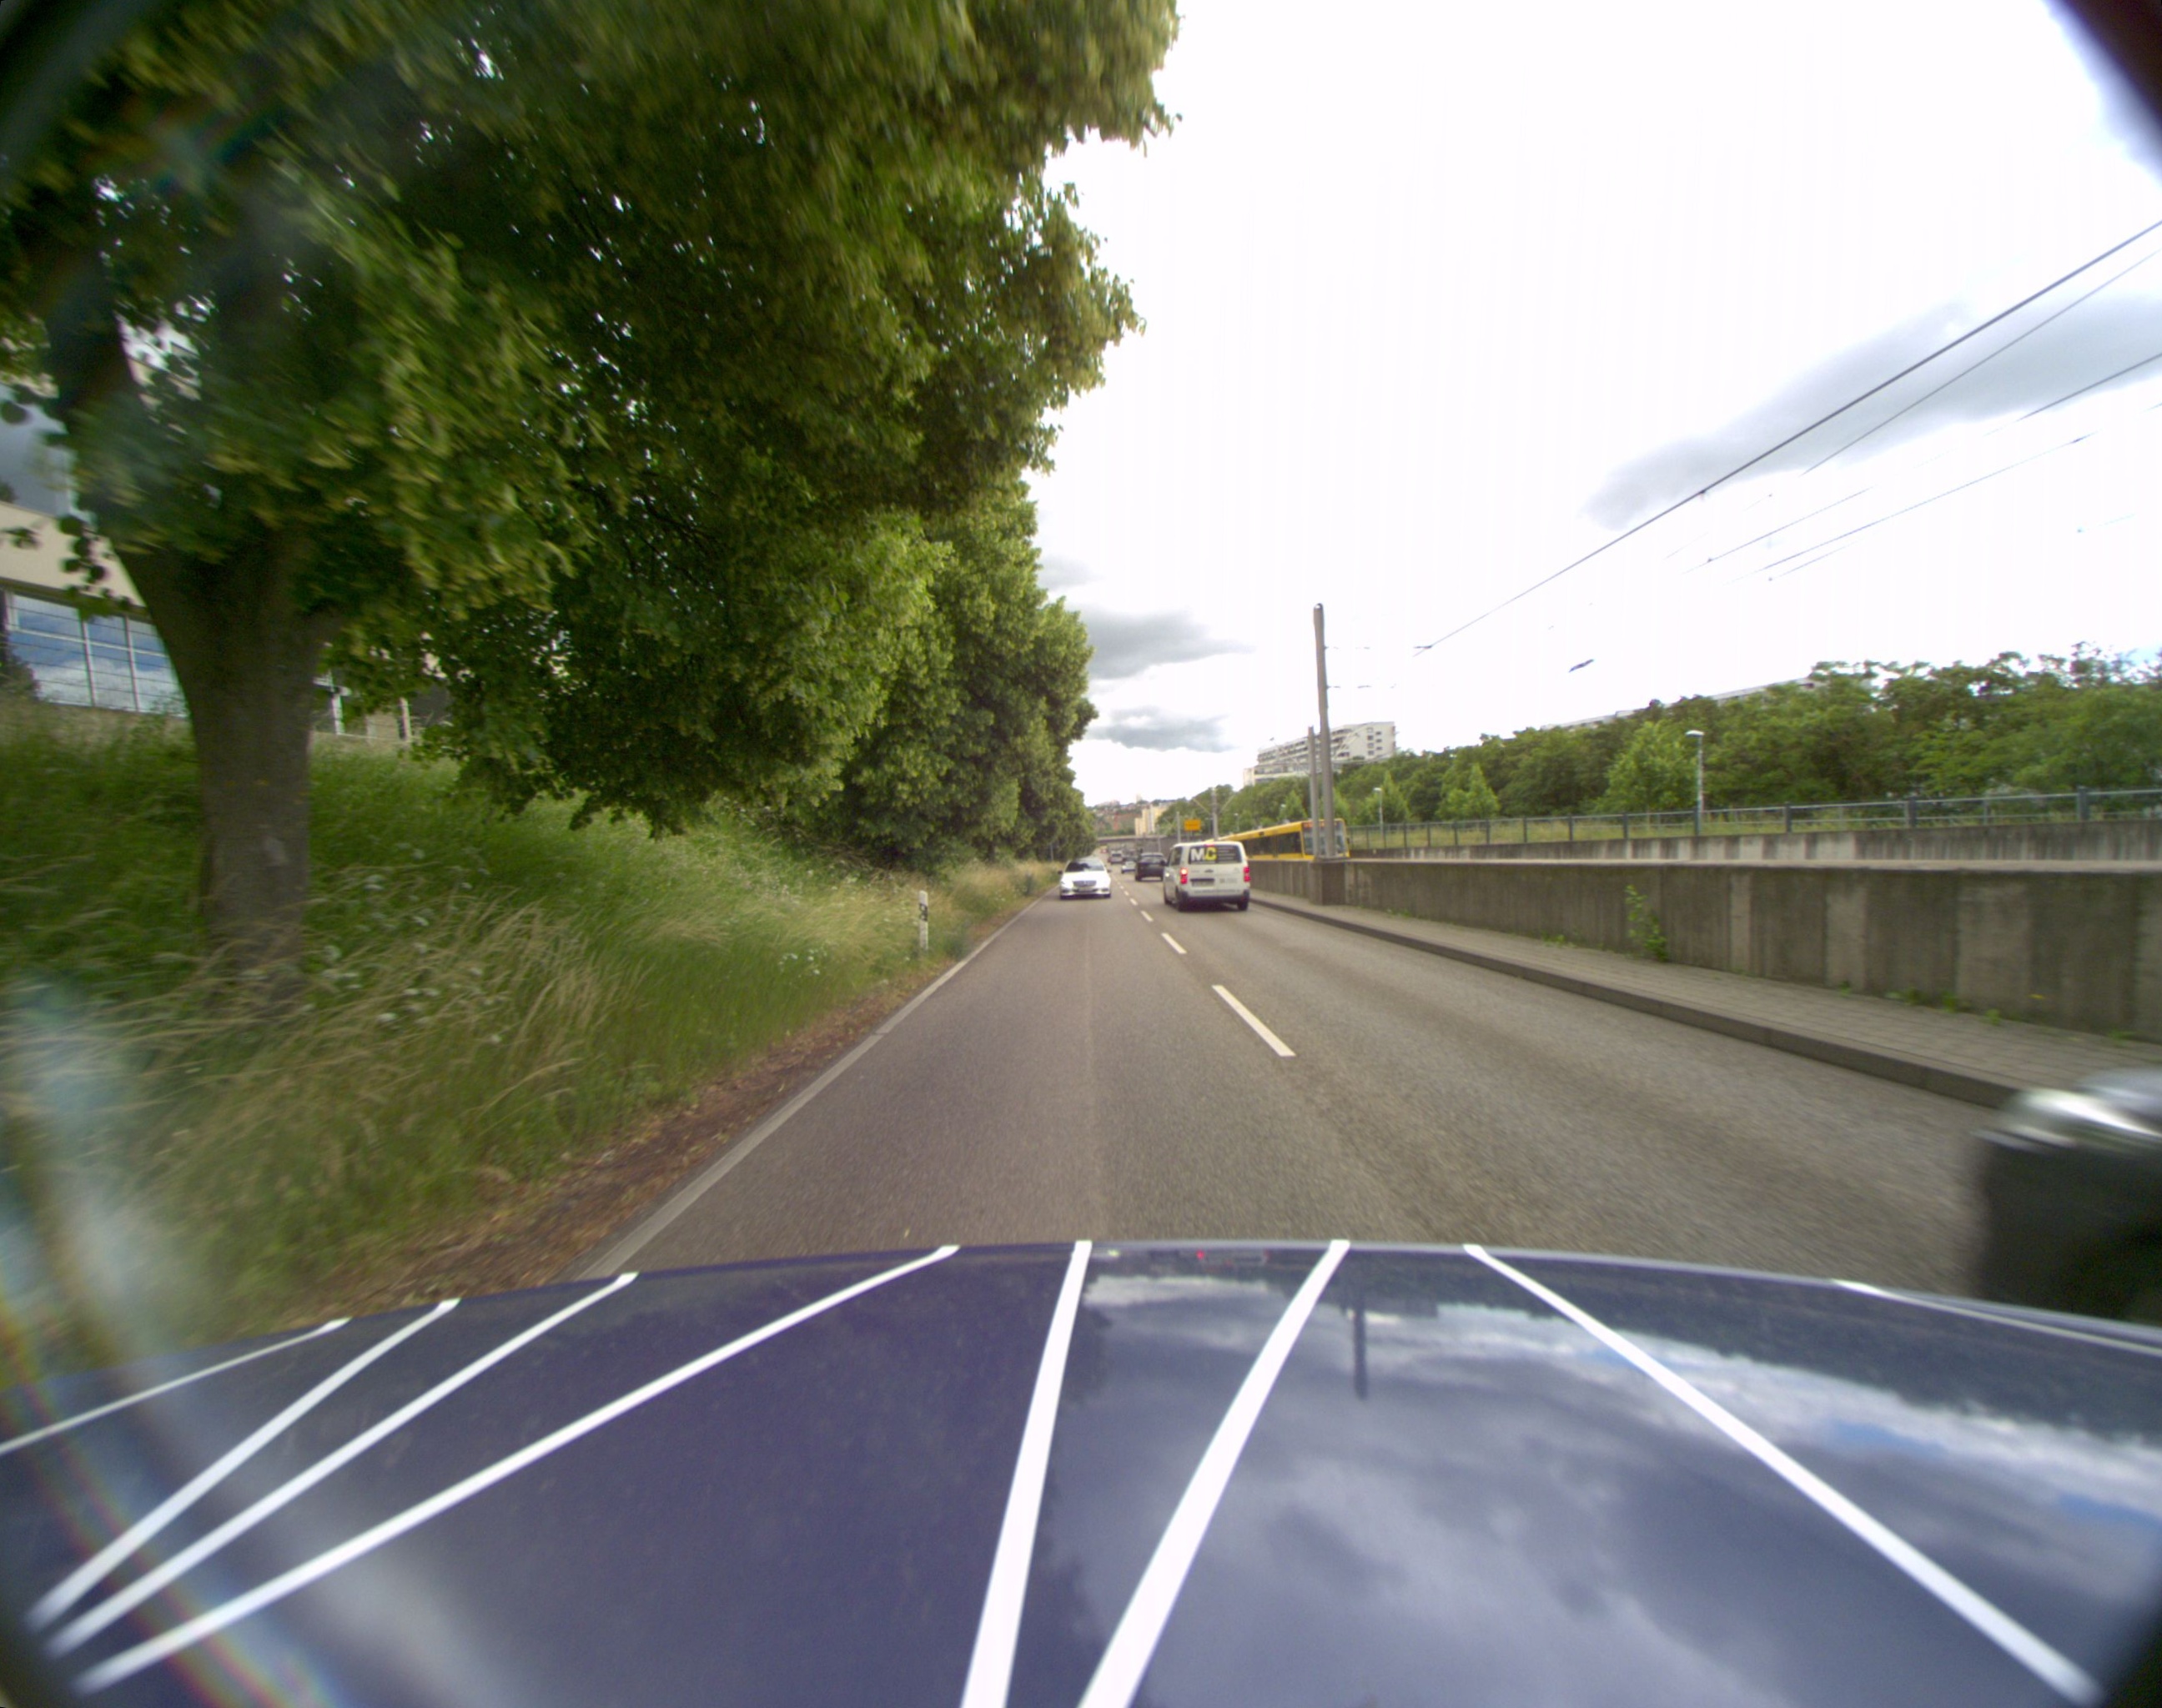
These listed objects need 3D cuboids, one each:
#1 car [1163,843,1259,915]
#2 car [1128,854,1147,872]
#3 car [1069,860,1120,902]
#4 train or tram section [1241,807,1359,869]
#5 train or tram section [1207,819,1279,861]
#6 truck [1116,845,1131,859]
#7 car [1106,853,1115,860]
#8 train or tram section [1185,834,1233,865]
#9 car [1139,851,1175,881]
[{"bbox_3d":[3.593,0.615,21.856,1.901,1.823,4.905,-1,1,0],"label":"car"},{"bbox_3d":[4.987,0.774,67.483,1.598,1.531,2.697,-1,0,3],"label":"car"},{"bbox_3d":[0.445,0.979,29.010,1.739,1.366,3.999,-2,1,-1],"label":"car"},{"bbox_3d":[13.448,-0.961,49.105,2.787,3.175,18.474,-2,1,2],"label":"train or tram section"},{"bbox_3d":[13.963,-1.187,67.580,2.787,3.175,18.473,-2,1,1],"label":"train or tram section"},{"bbox_3d":[7.569,-0.350,136.521,2.455,2.412,8.211,-2,1,2],"label":"truck"},{"bbox_3d":[6.999,0.490,182.444,1.998,1.630,4.000,-1,0,1],"label":"car"},{"bbox_3d":[14.590,-0.561,88.725,2.741,3.196,19.916,-1,0,2],"label":"train or tram section"},{"bbox_3d":[4.529,0.710,45.715,1.781,1.677,4.065,-1,0,1],"label":"car"}]
